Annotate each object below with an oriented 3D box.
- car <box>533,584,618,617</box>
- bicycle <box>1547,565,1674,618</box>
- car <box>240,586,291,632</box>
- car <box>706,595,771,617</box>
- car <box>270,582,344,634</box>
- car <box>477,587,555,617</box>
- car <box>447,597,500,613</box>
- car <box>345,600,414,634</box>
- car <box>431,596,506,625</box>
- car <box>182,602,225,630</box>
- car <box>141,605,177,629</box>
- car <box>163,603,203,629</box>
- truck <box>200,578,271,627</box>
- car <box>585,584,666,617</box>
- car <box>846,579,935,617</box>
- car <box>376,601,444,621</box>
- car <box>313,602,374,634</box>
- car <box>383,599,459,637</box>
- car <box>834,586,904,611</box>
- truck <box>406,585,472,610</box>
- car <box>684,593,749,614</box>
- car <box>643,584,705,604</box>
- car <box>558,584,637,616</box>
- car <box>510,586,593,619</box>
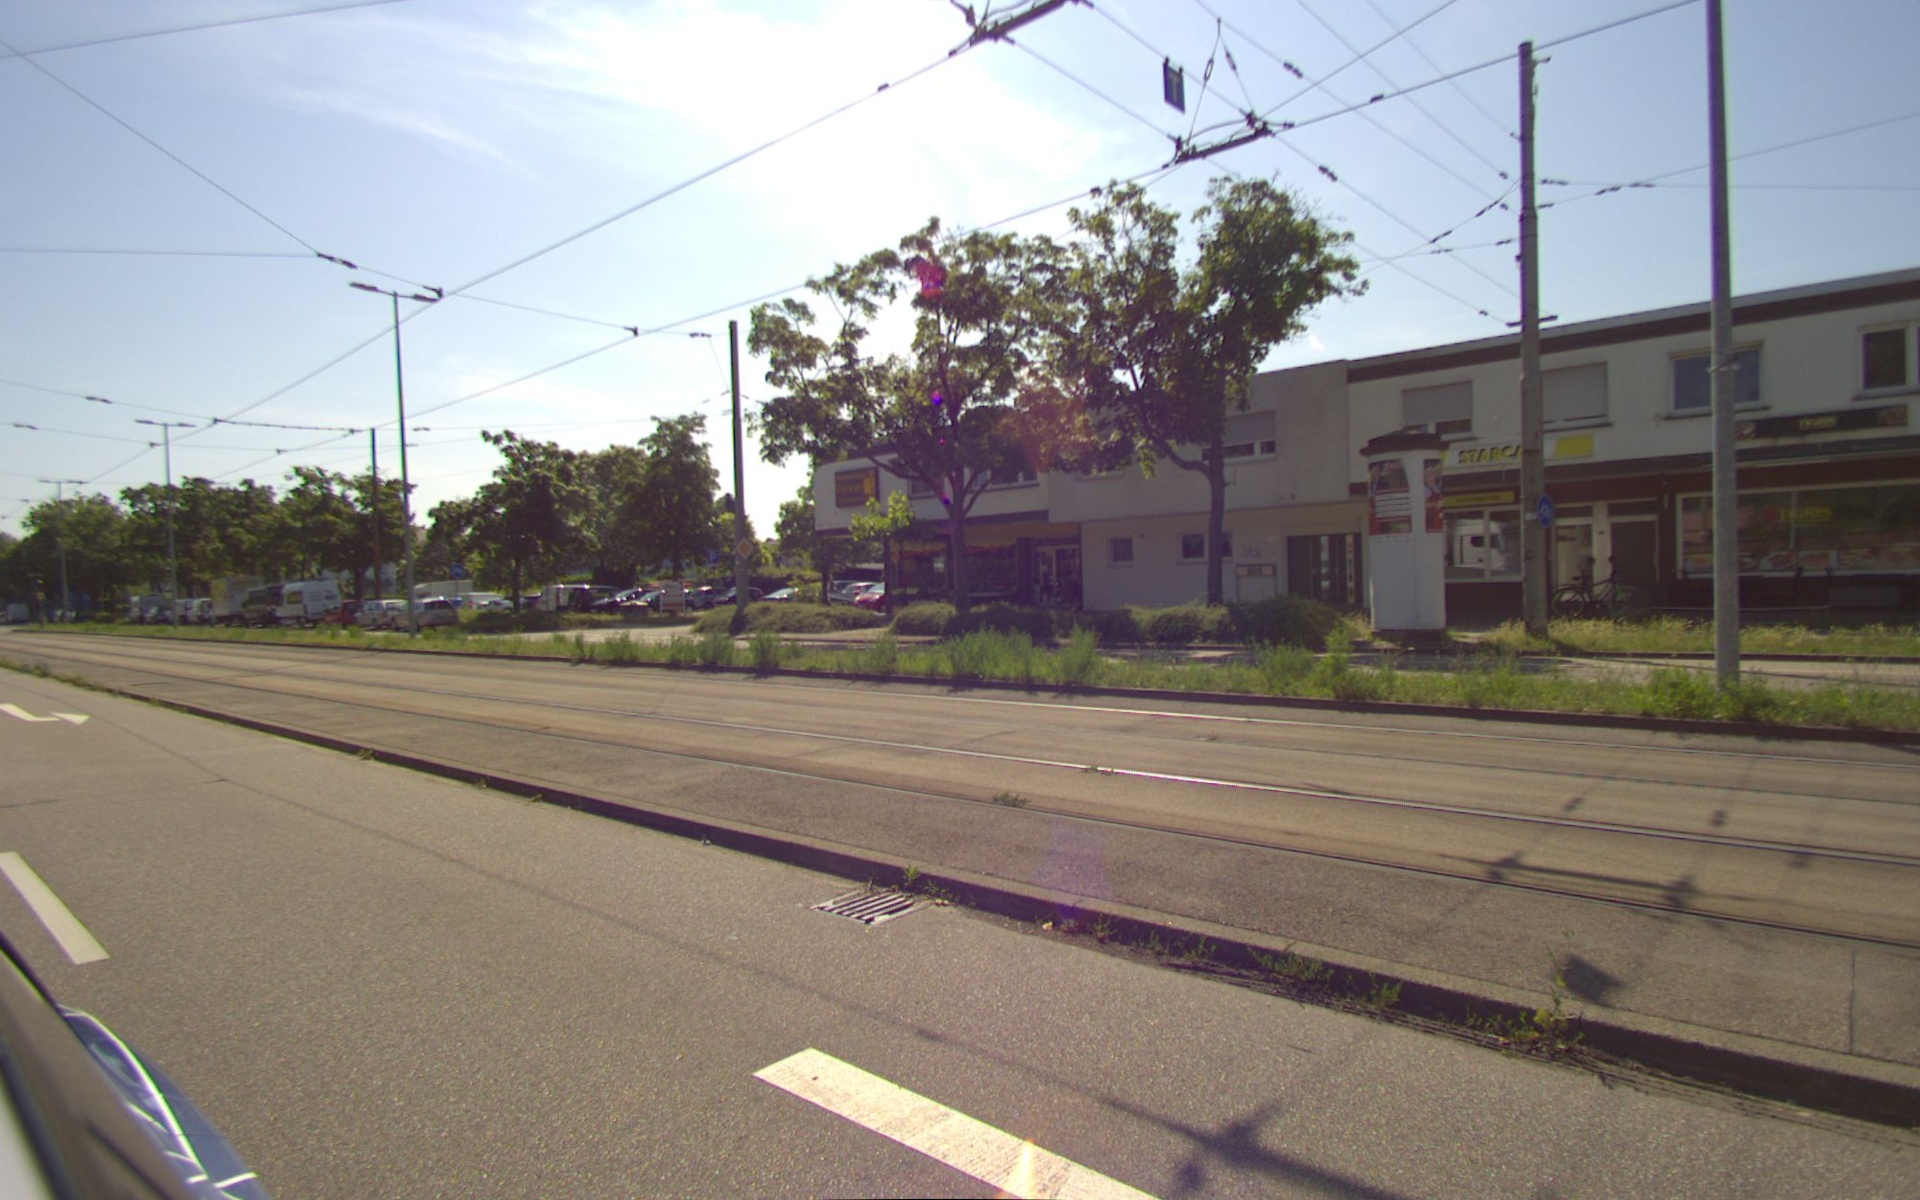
[{"bbox_3d":[-22.063,-0.004,58.193,1.988,1.751,4.068,-1,1,38],"label":"car"},{"bbox_3d":[14.687,-0.169,22.900,2.333,1.161,0.779,-1,-1,42],"label":"bicycle"},{"bbox_3d":[-42.258,0.564,61.552,4.005,2.643,1.483,-1,4,41],"label":"car"},{"bbox_3d":[-15.214,0.417,69.695,1.676,1.345,4.197,-1,1,42],"label":"car"},{"bbox_3d":[-37.252,0.472,57.658,5.201,2.673,2.036,-1,4,41],"label":"car"},{"bbox_3d":[-28.026,0.098,64.006,1.988,1.751,4.068,-1,1,38],"label":"car"},{"bbox_3d":[-45.990,0.428,95.690,1.676,1.345,4.198,-1,1,41],"label":"car"},{"bbox_3d":[-29.308,0.864,51.035,4.255,1.544,1.654,-1,4,41],"label":"car"},{"bbox_3d":[-33.299,0.708,68.426,5.739,1.825,2.560,-1,1,42],"label":"car"},{"bbox_3d":[-54.680,1.151,73.140,4.631,1.817,1.483,-1,4,41],"label":"car"},{"bbox_3d":[-64.407,1.385,81.371,3.685,1.799,1.484,-1,4,40],"label":"car"},{"bbox_3d":[-59.747,1.256,77.831,4.056,1.859,1.484,-1,4,40],"label":"car"},{"bbox_3d":[-48.363,0.168,67.541,5.902,2.956,2.476,-1,4,42],"label":"truck"},{"bbox_3d":[-17.965,0.013,54.438,1.676,1.646,3.761,-1,1,42],"label":"car"},{"bbox_3d":[-3.245,-0.118,47.991,1.676,1.616,4.197,-1,1,42],"label":"car"},{"bbox_3d":[-42.068,0.812,77.441,1.676,1.345,4.198,-1,1,41],"label":"car"},{"bbox_3d":[-33.155,0.950,54.375,3.791,1.544,1.654,-1,4,41],"label":"car"},{"bbox_3d":[-25.245,0.836,47.344,4.255,1.544,1.654,-1,4,41],"label":"car"},{"bbox_3d":[-5.490,-0.092,61.667,1.676,1.345,4.197,-1,1,42],"label":"car"},{"bbox_3d":[-53.042,-0.268,103.123,1.988,2.398,5.584,-1,1,38],"label":"truck"},{"bbox_3d":[-17.154,0.249,71.387,1.676,1.345,4.197,-1,1,42],"label":"car"},{"bbox_3d":[-21.064,-0.482,74.747,1.674,1.345,4.201,-1,1,39],"label":"car"},{"bbox_3d":[-20.207,-0.005,56.447,1.676,1.646,3.761,-1,1,42],"label":"car"},{"bbox_3d":[-24.039,0.132,59.674,1.988,1.751,4.068,-1,1,38],"label":"car"}]
